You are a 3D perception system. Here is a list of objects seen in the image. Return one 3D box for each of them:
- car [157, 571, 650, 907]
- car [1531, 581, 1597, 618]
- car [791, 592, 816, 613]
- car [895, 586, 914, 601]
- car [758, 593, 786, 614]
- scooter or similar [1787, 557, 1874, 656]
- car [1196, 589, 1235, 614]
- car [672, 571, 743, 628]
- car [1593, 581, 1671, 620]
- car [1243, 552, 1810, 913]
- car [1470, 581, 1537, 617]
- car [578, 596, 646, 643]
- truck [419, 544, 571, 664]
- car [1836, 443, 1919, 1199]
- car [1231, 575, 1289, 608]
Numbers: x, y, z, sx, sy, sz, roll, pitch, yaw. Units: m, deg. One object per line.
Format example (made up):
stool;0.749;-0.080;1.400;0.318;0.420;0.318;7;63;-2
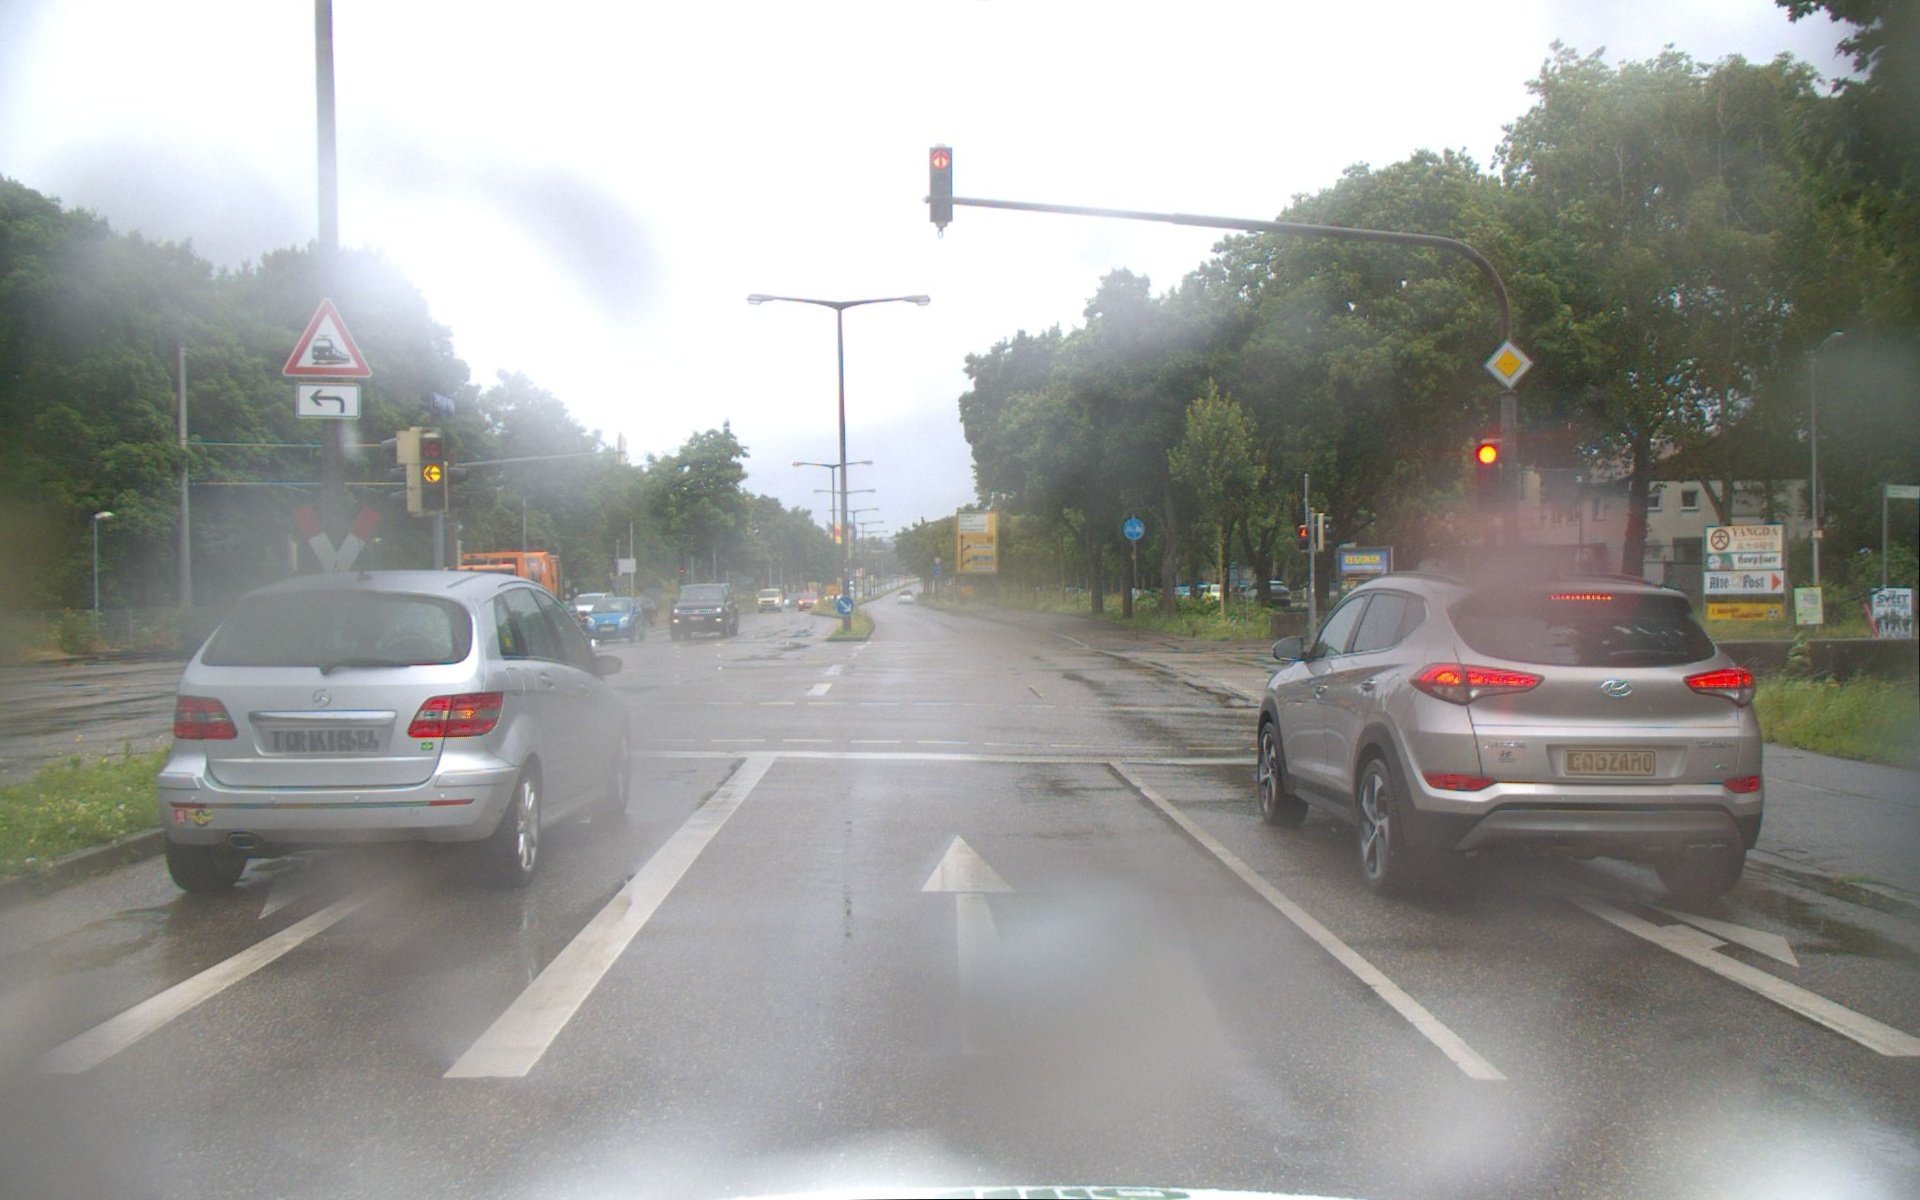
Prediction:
car;-3.001;0.646;9.823;1.701;1.571;4.011;0;0;-2
car;25.229;0.006;69.039;1.637;1.474;3.737;1;0;36
car;-12.873;0.237;136.237;1.765;1.597;4.426;-2;0;-3
car;-5.865;-0.711;175.154;1.868;1.541;3.999;-1;0;-1
car;-15.443;0.278;135.951;1.855;1.639;4.499;-1;0;-2
scooter or similar;11.207;0.086;21.302;0.937;1.251;0.322;-1;0;3
car;16.238;0.114;105.221;1.605;1.512;4.069;1;0;-4
car;-8.567;-0.028;56.491;1.769;1.804;5.087;-2;0;-2
car;27.149;0.029;66.773;3.724;1.474;1.642;1;0;-45
car;2.959;0.615;9.670;1.846;1.638;4.195;0;0;-1
car;23.111;-0.024;70.220;1.637;1.474;3.737;1;0;36
car;-11.633;0.631;55.495;1.609;1.452;3.996;-3;0;-4
truck;-17.915;0.167;64.593;3.317;4.240;10.401;1;0;-2
car;3.044;0.595;1.524;1.953;1.827;4.560;0;0;-2
car;16.540;-0.456;91.385;1.954;1.747;4.874;-1;0;-4
